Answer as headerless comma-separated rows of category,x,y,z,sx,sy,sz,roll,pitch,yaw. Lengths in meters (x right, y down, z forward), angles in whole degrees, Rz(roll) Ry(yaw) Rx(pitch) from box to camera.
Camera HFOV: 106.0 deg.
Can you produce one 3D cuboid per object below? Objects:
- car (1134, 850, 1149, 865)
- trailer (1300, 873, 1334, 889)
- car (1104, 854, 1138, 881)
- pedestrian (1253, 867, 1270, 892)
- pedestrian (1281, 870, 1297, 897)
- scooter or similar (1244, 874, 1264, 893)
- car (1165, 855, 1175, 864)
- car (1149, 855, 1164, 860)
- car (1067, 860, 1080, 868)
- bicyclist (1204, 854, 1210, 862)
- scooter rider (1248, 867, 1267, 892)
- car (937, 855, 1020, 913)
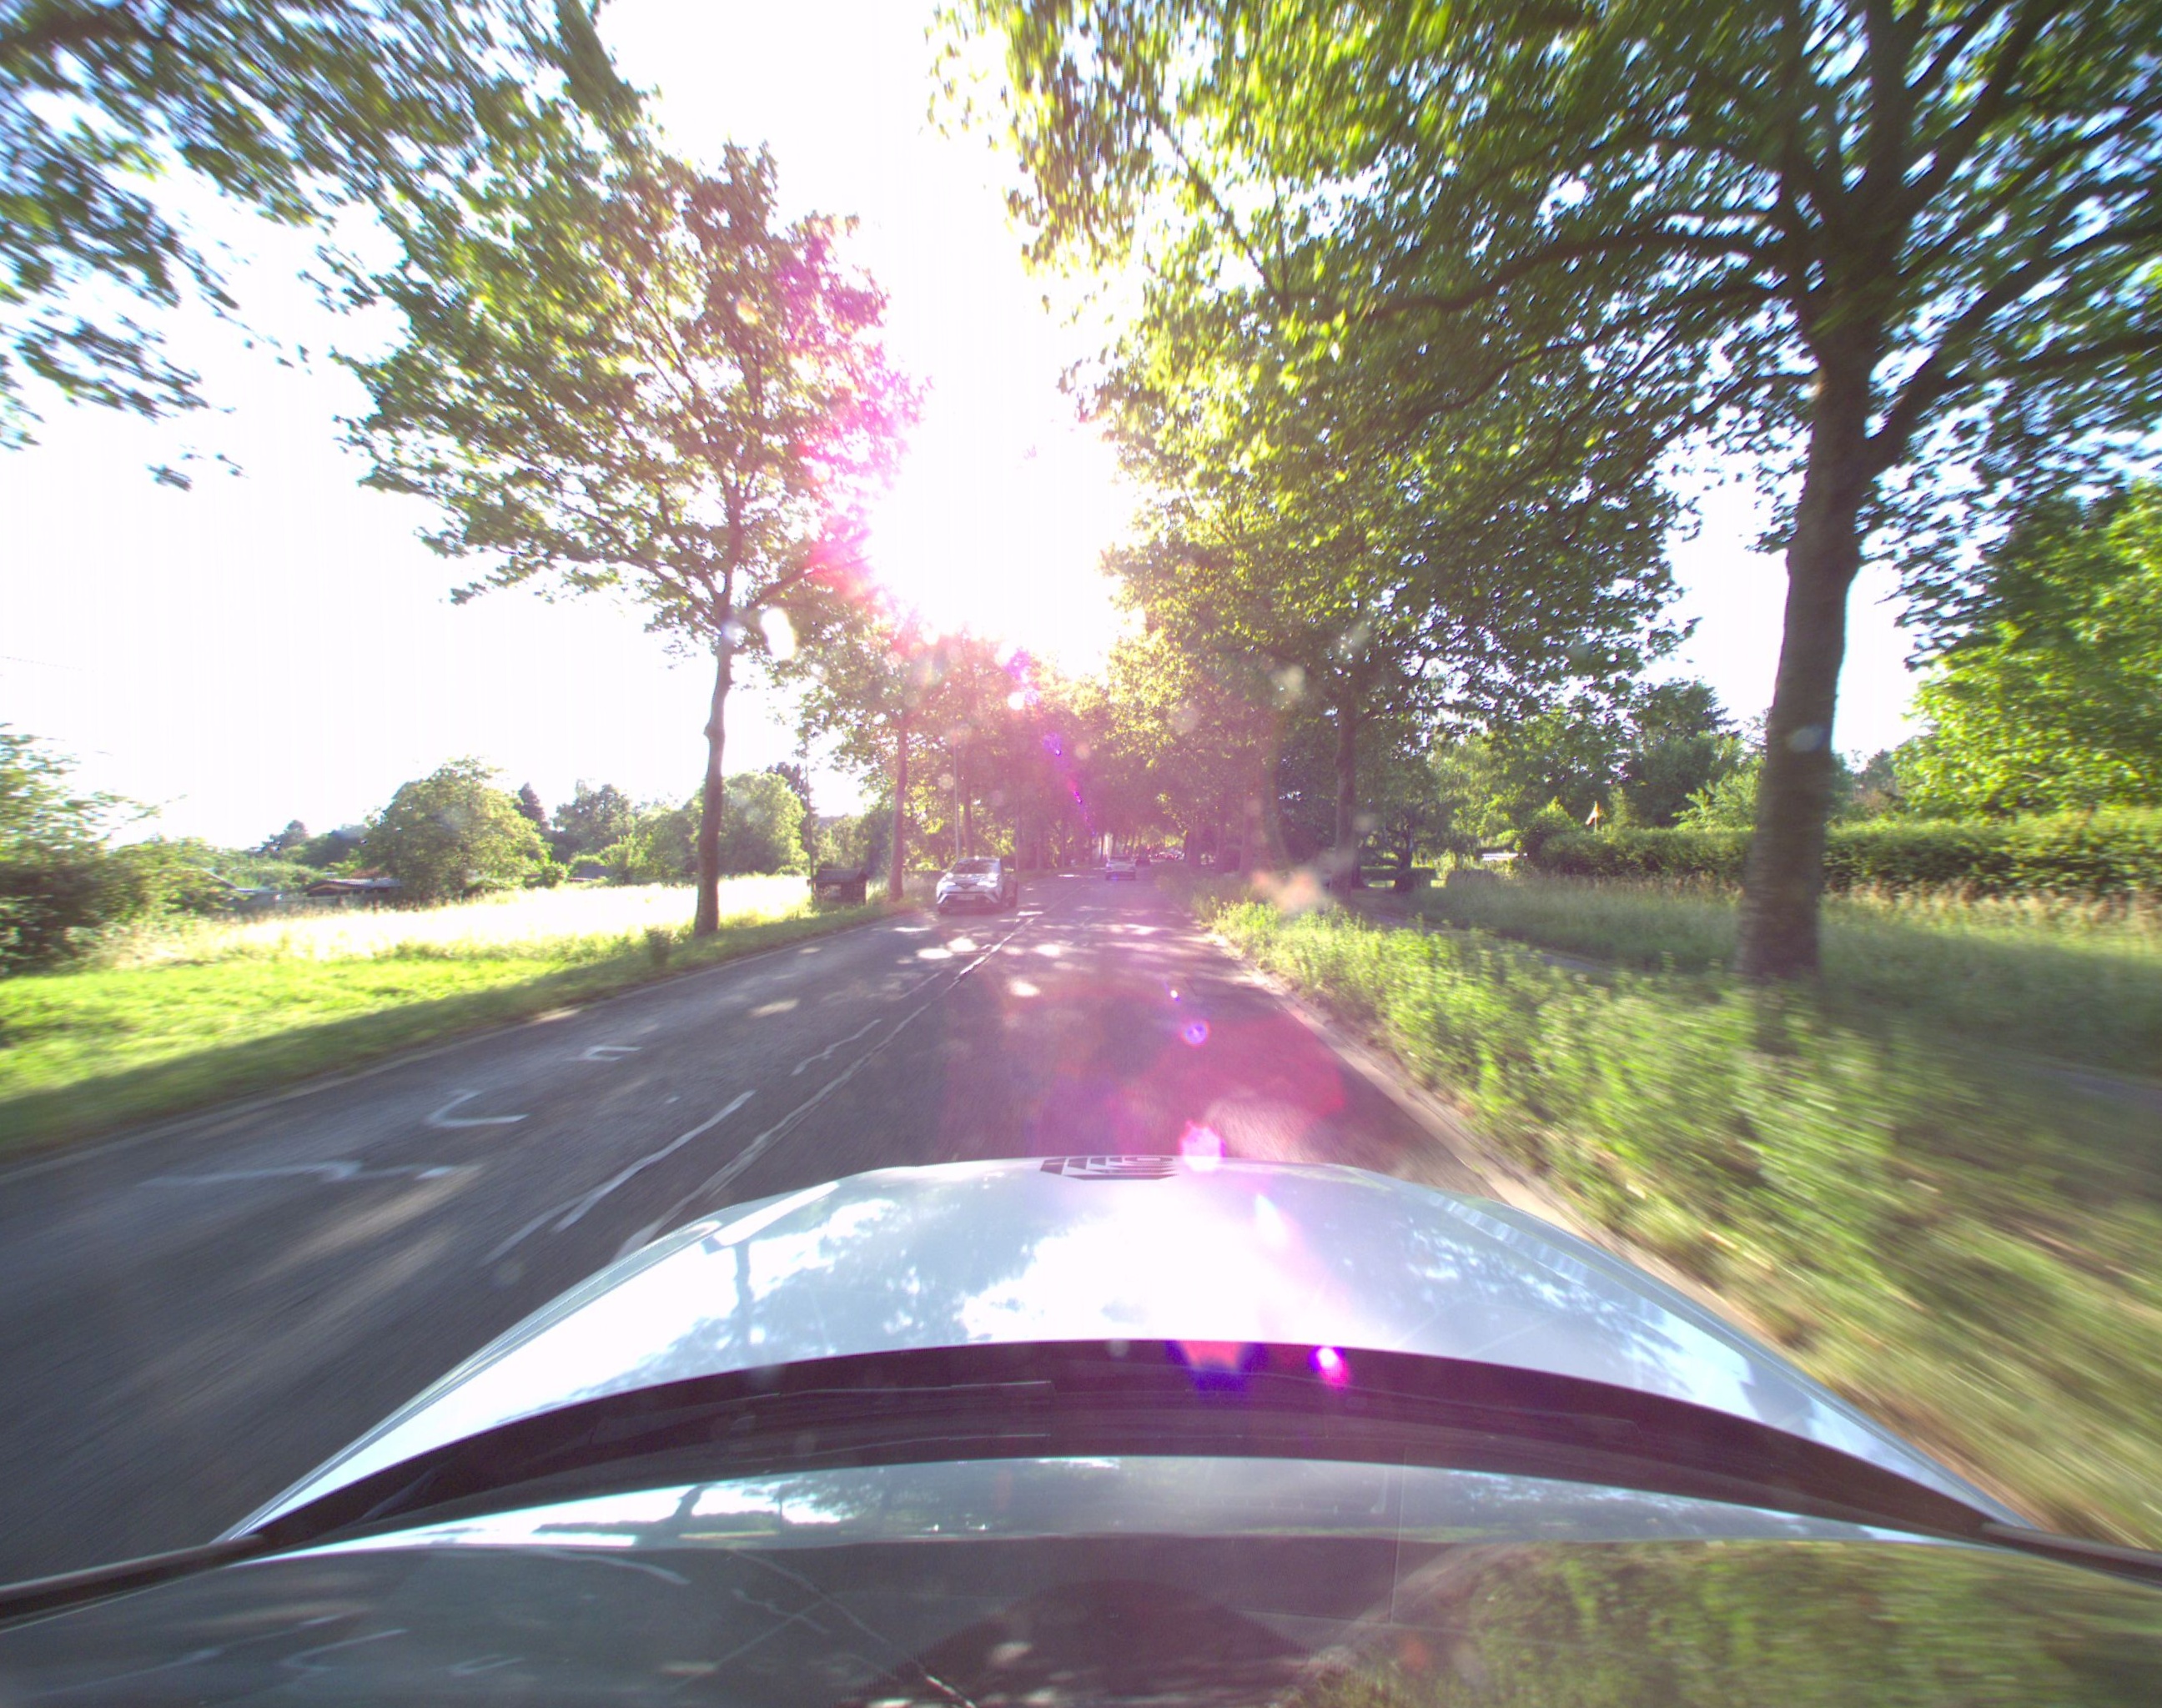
car,8.295,0.466,110.947,1.984,2.014,4.005,0,-1,5
trailer,15.880,1.788,54.840,2.105,1.052,1.203,-1,-1,8
car,2.464,0.812,50.077,1.985,1.574,4.003,0,-1,3
pedestrian,11.676,1.645,52.636,0.774,1.576,0.850,-1,-1,32
pedestrian,12.388,1.759,48.493,0.836,1.576,1.211,-1,-1,12
scooter or similar,10.942,1.865,51.585,1.608,1.135,0.337,0,-1,-41
car,19.644,1.246,179.611,1.983,2.014,4.006,0,-1,6
car,20.501,0.953,221.611,3.961,1.478,2.006,-1,-1,11
car,-1.181,1.655,137.304,1.744,1.304,4.006,-2,0,5
bicyclist,21.213,0.724,137.064,0.733,1.366,0.769,0,-1,-8
scooter rider,11.214,1.599,51.747,0.850,1.576,0.775,1,-1,-45
car,-2.834,0.822,23.279,1.709,1.505,4.002,0,-1,2
